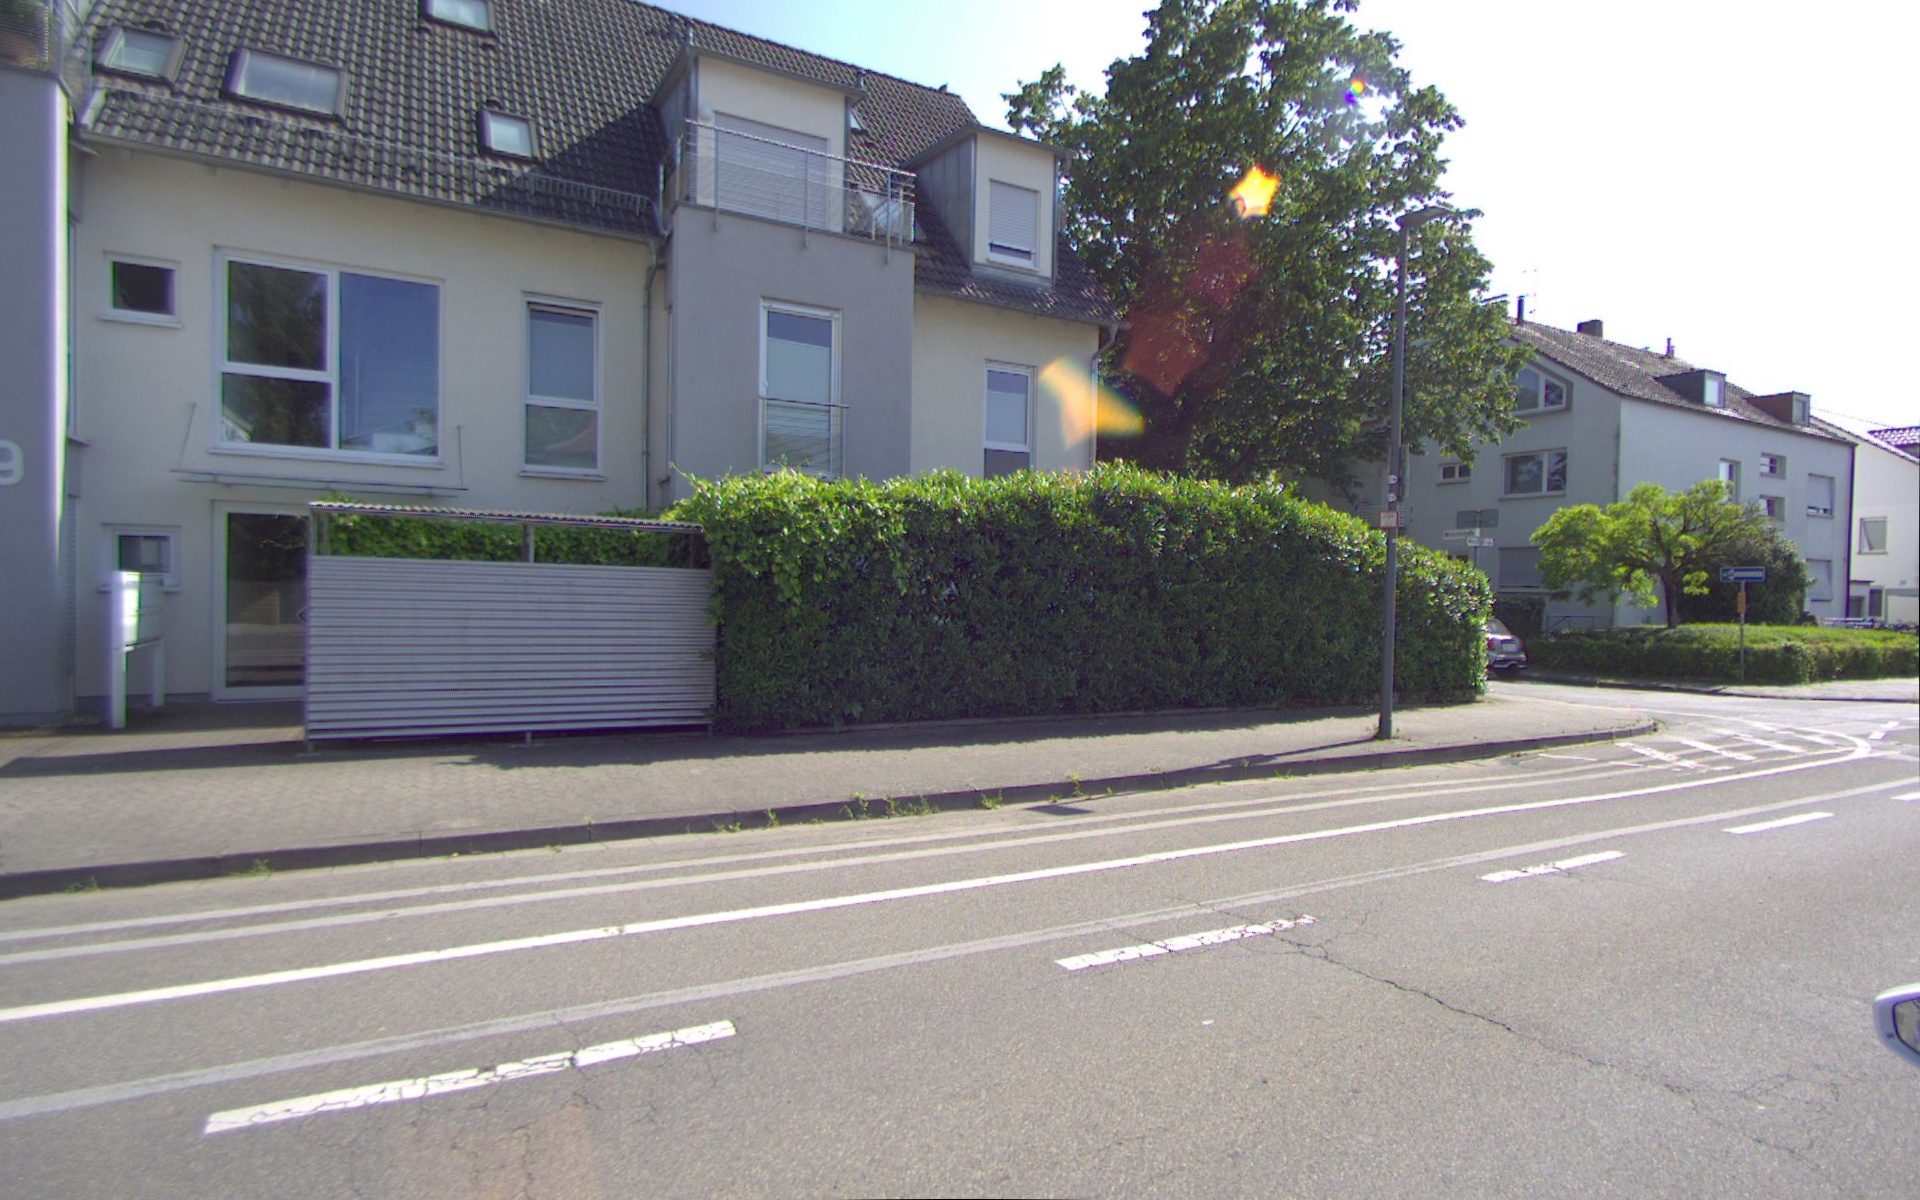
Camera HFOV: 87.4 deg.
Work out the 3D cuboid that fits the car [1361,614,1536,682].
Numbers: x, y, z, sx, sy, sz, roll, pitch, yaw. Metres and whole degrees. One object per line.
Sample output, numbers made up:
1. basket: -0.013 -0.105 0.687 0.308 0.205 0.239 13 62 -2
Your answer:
1. car: 11.780 1.117 24.410 1.705 1.431 3.476 1 0 -29
